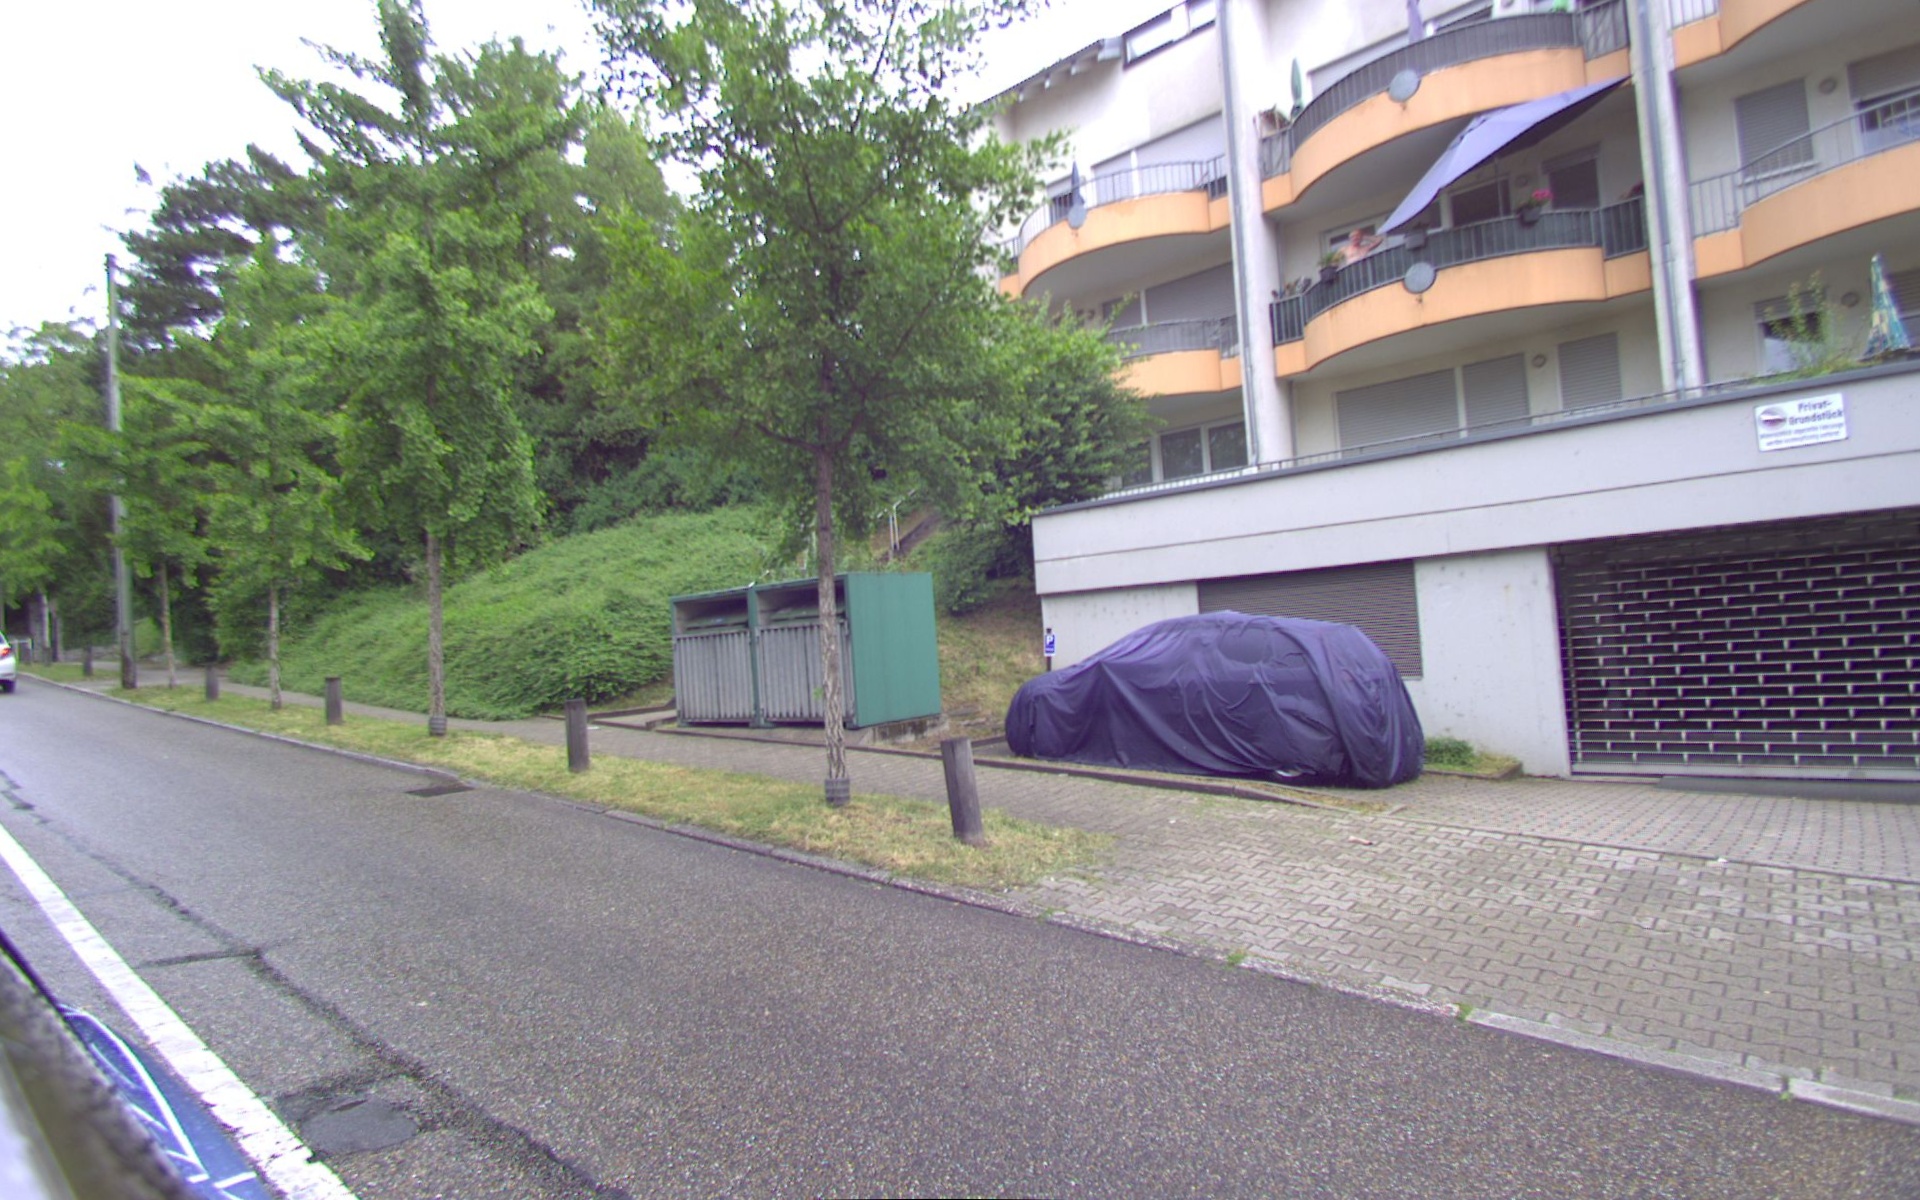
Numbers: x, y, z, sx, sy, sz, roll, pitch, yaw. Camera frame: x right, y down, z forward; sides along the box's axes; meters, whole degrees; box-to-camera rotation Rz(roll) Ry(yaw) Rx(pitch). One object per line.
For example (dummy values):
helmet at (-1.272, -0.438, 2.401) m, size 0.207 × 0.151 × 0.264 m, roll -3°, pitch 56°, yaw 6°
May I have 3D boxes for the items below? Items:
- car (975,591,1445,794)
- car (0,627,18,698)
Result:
car at (2.286, 0.806, 9.870) m, size 4.096 × 1.573 × 1.759 m, roll -2°, pitch -4°, yaw 41°
car at (-22.746, 1.366, 22.766) m, size 3.837 × 1.543 × 1.692 m, roll -1°, pitch -3°, yaw 39°
